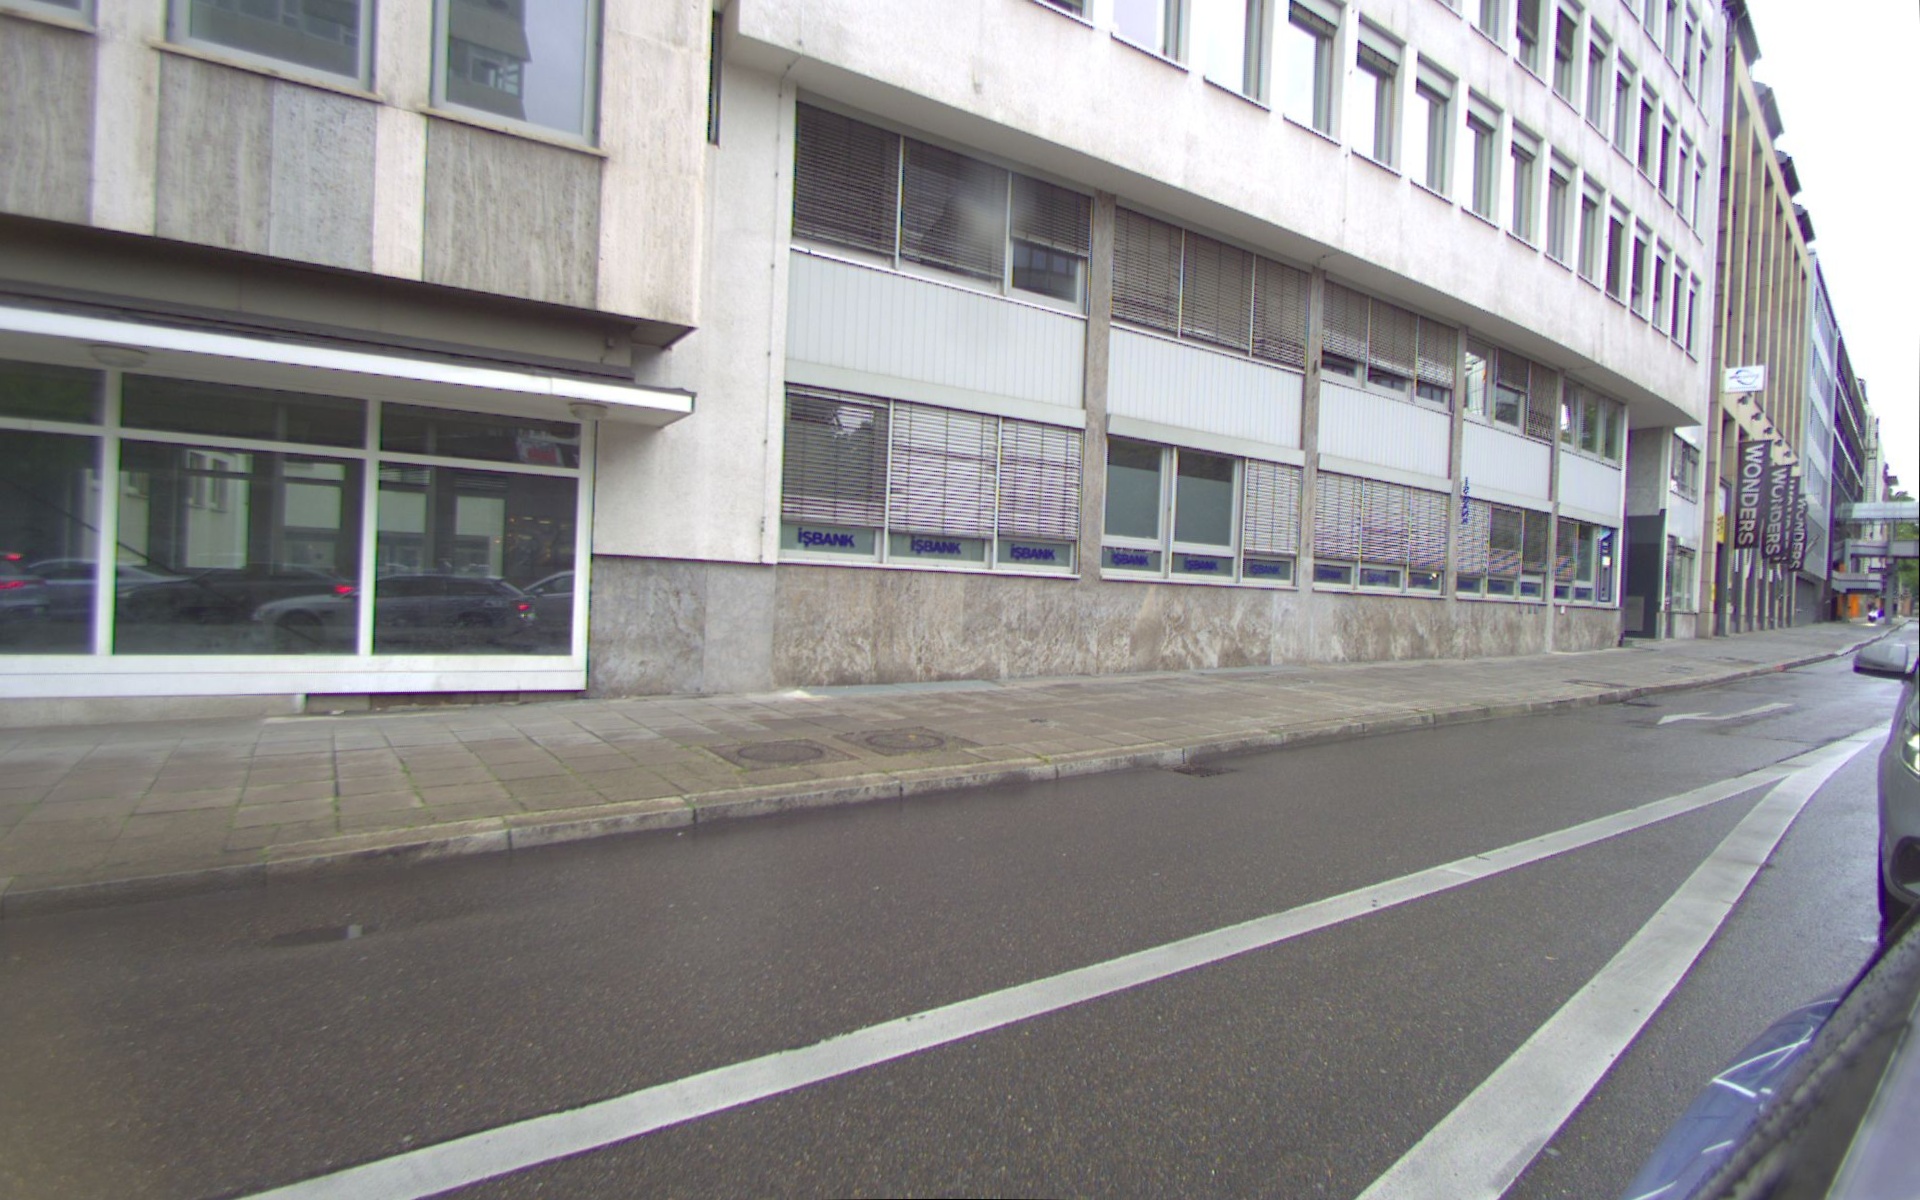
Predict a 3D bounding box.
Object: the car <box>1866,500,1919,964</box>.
[{"bbox_3d":[6.246,0.548,5.168,4.940,1.879,1.914,0,0,-42],"label":"car"}]
